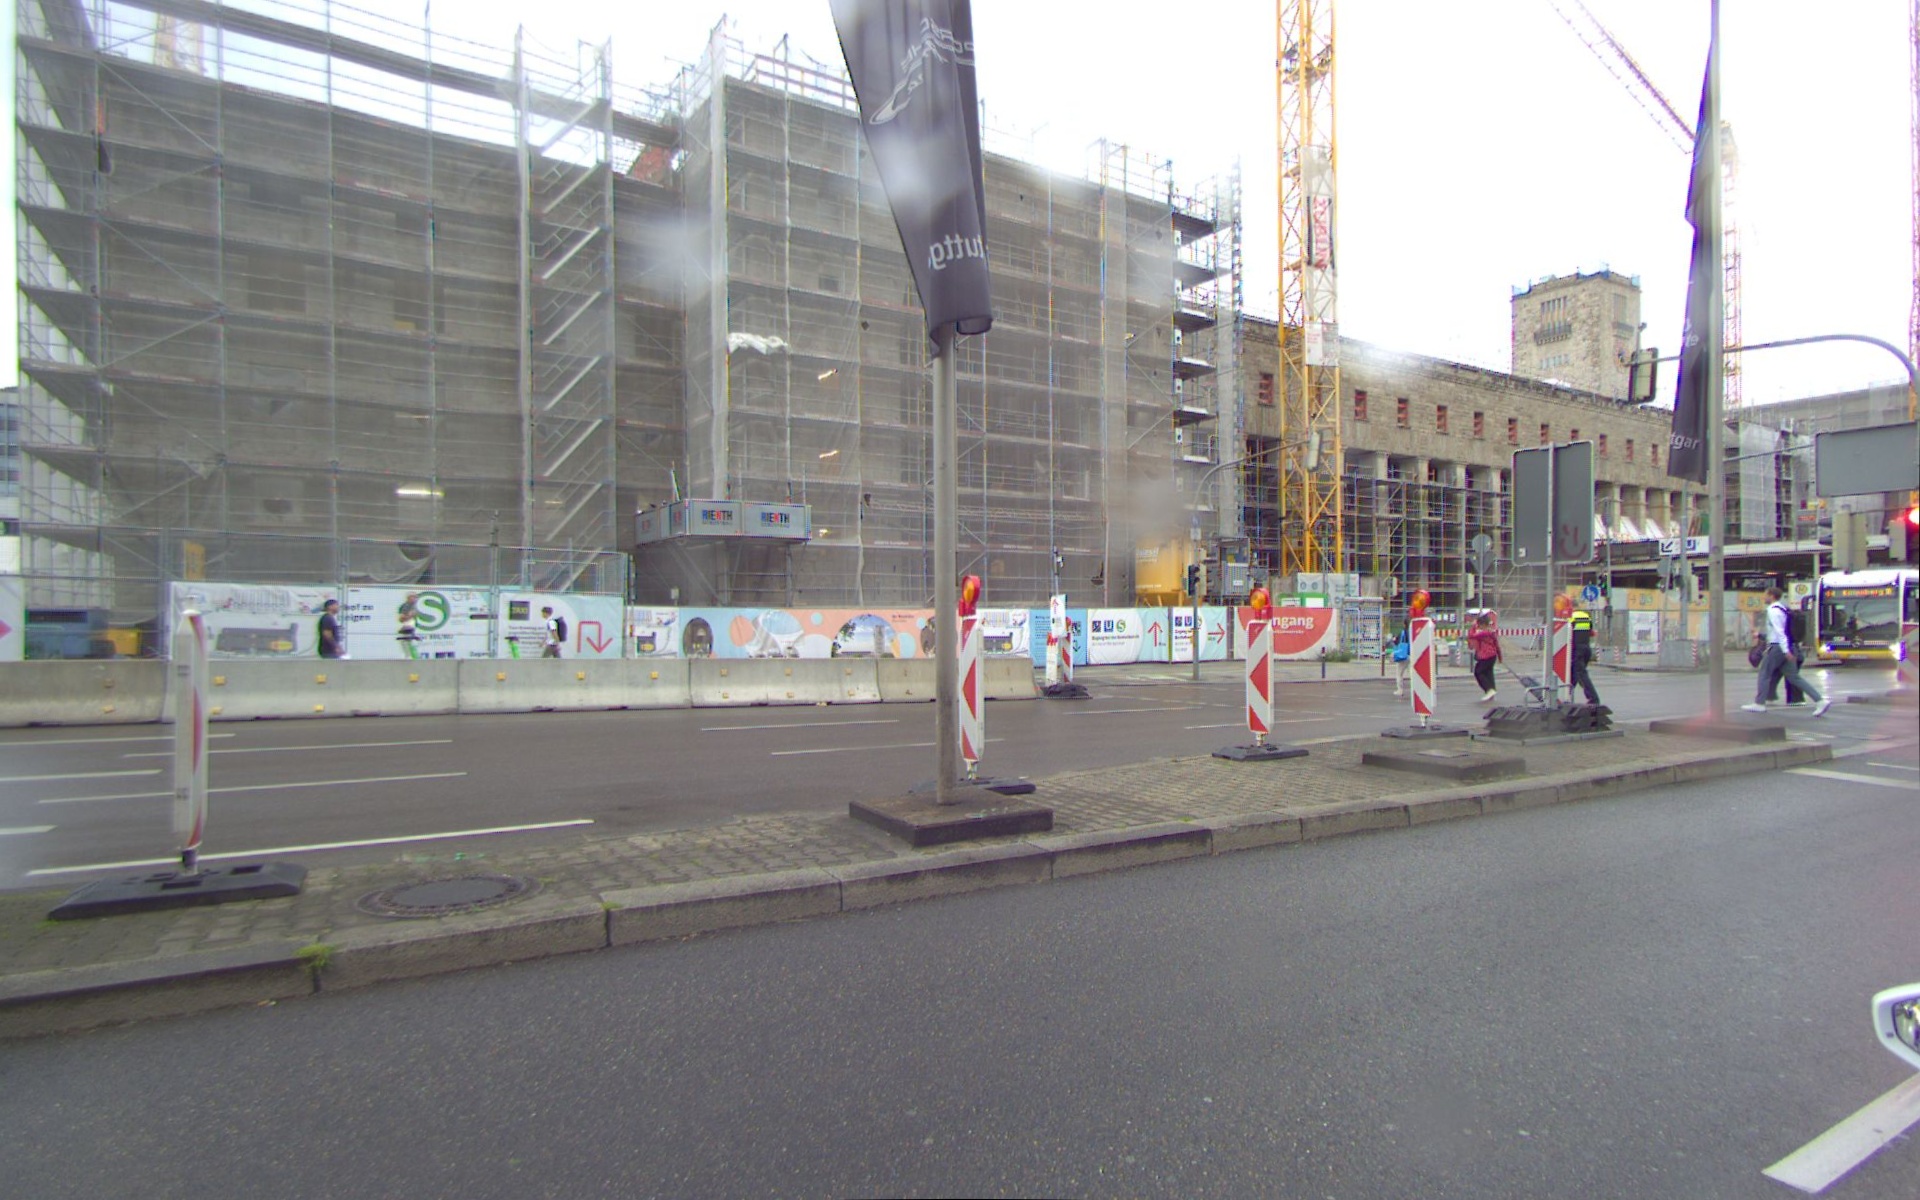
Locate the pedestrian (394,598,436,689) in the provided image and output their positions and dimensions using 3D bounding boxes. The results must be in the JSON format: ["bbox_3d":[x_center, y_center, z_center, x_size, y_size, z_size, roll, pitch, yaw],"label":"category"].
[{"bbox_3d":[-11.297,0.895,20.814,0.709,1.860,0.478,1,0,-30],"label":"pedestrian"}]

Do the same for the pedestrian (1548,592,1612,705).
[{"bbox_3d":[10.549,0.813,17.090,0.810,1.860,0.575,1,0,-30],"label":"pedestrian"}]

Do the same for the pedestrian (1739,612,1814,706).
[{"bbox_3d":[14.411,1.017,17.732,0.781,1.581,0.865,1,0,-40],"label":"pedestrian"}]

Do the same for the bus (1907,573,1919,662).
[{"bbox_3d":[44.039,0.849,42.759,10.092,3.650,2.655,2,0,-30],"label":"bus"}]

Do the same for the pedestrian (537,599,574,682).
[{"bbox_3d":[-9.303,0.923,23.109,0.709,1.860,0.478,1,0,-30],"label":"pedestrian"}]

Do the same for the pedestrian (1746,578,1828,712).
[{"bbox_3d":[12.222,0.644,14.852,0.614,1.915,0.793,1,0,-38],"label":"pedestrian"}]

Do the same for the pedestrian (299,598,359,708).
[{"bbox_3d":[-10.950,0.901,17.447,0.810,1.860,0.575,1,0,-30],"label":"pedestrian"}]

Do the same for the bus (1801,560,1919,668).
[{"bbox_3d":[35.381,0.595,37.627,10.119,3.650,2.655,2,0,-30],"label":"bus"}]

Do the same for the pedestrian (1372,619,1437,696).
[{"bbox_3d":[9.526,1.218,21.526,0.890,1.584,0.909,1,0,-33],"label":"pedestrian"}]

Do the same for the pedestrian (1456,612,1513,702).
[{"bbox_3d":[10.391,1.122,19.927,0.613,1.740,0.794,1,-2,-33],"label":"pedestrian"}]

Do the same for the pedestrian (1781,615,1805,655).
[{"bbox_3d":[39.558,1.667,47.702,0.789,1.879,0.658,1,-1,-30],"label":"pedestrian"}]
